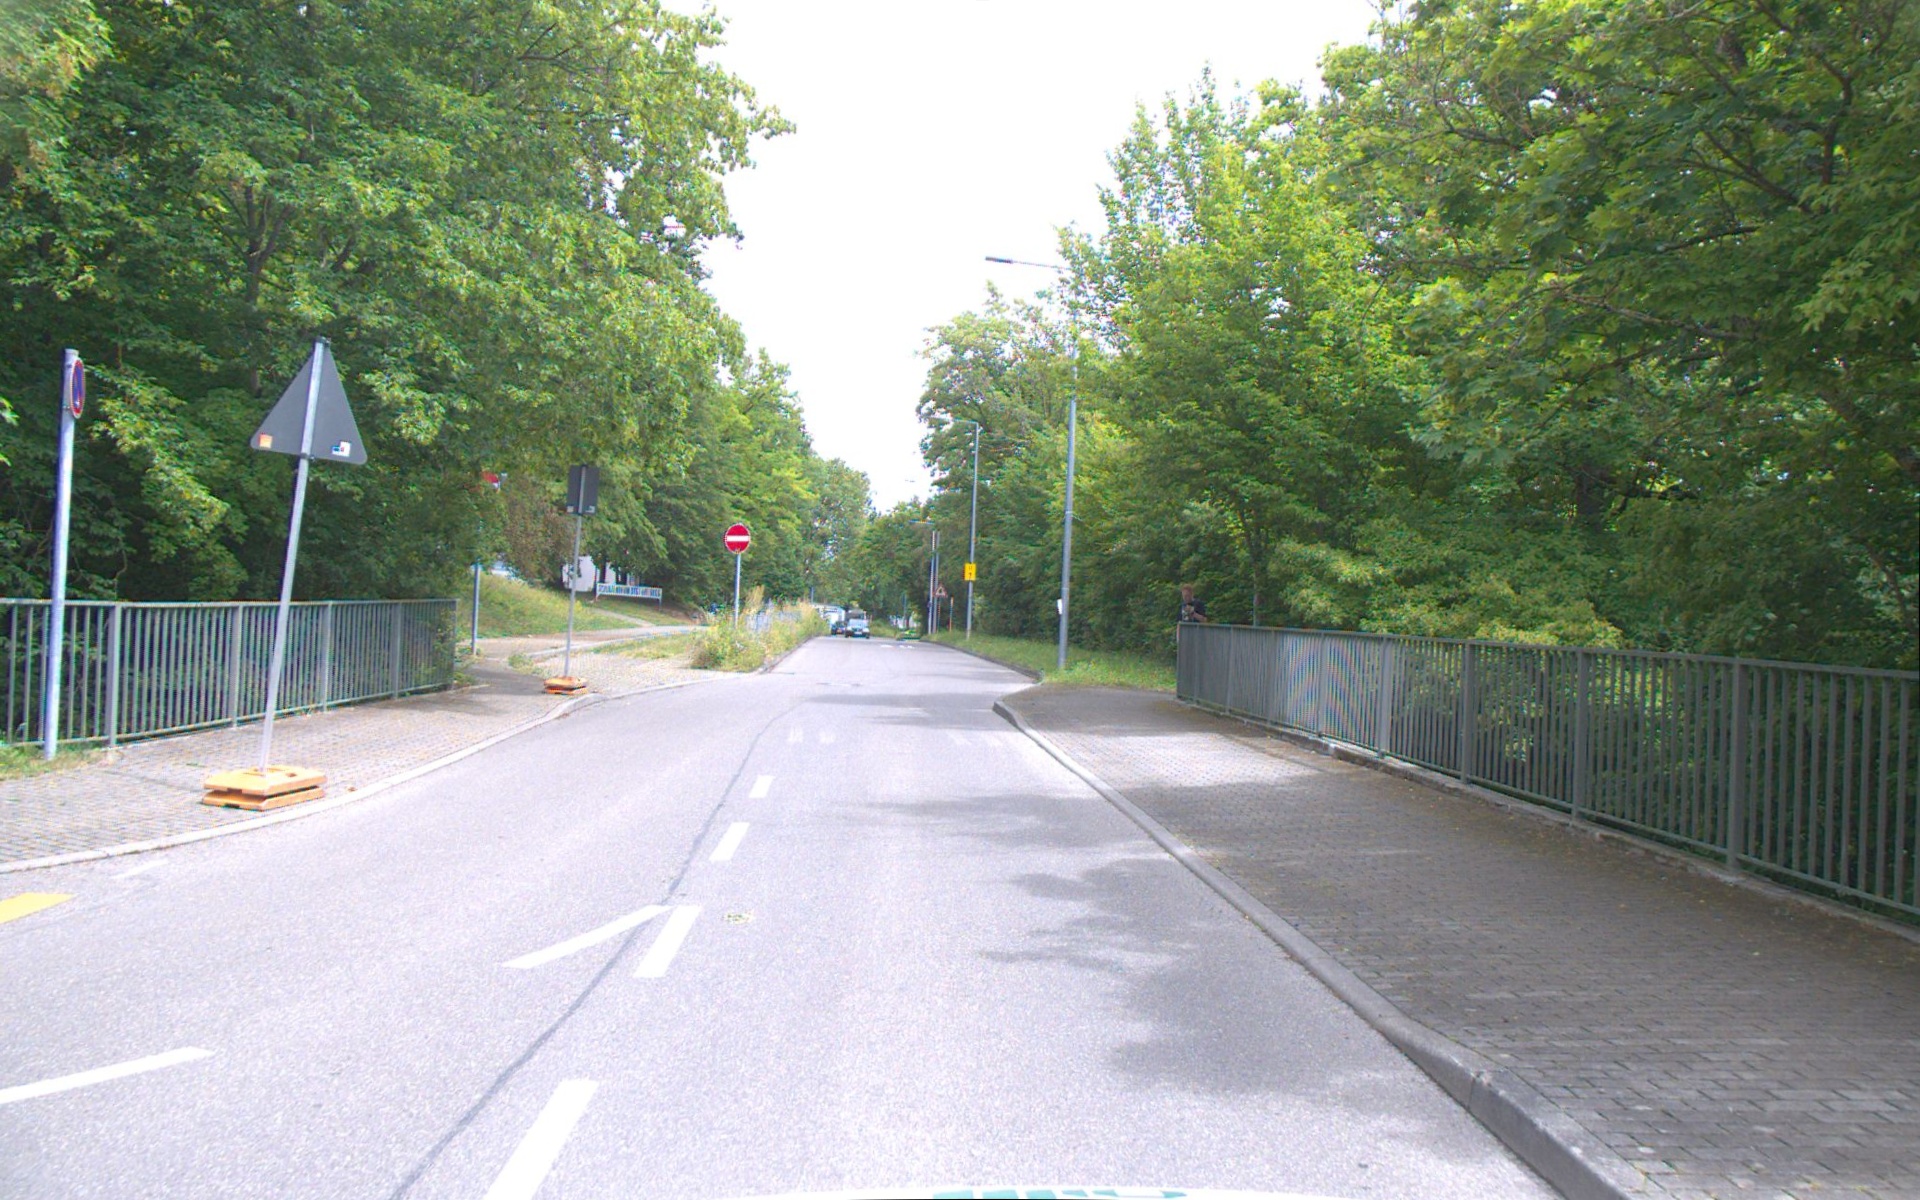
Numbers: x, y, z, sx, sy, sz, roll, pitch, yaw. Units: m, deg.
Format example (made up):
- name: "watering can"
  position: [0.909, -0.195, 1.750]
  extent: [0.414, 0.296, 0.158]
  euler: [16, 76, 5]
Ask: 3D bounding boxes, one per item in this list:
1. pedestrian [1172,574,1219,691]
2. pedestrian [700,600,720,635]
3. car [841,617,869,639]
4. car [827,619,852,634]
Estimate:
- name: "pedestrian"
  position: [3.724, 0.509, 26.177]
  extent: [0.575, 1.814, 0.682]
  euler: [1, -1, 19]
- name: "pedestrian"
  position: [-15.125, 1.041, 100.098]
  extent: [0.862, 2.049, 0.862]
  euler: [-3, -5, 42]
- name: "car"
  position: [-7.128, 1.881, 112.695]
  extent: [1.658, 1.372, 4.093]
  euler: [2, 0, -1]
- name: "car"
  position: [-12.440, 2.769, 171.270]
  extent: [1.938, 1.408, 4.001]
  euler: [3, -1, 4]
